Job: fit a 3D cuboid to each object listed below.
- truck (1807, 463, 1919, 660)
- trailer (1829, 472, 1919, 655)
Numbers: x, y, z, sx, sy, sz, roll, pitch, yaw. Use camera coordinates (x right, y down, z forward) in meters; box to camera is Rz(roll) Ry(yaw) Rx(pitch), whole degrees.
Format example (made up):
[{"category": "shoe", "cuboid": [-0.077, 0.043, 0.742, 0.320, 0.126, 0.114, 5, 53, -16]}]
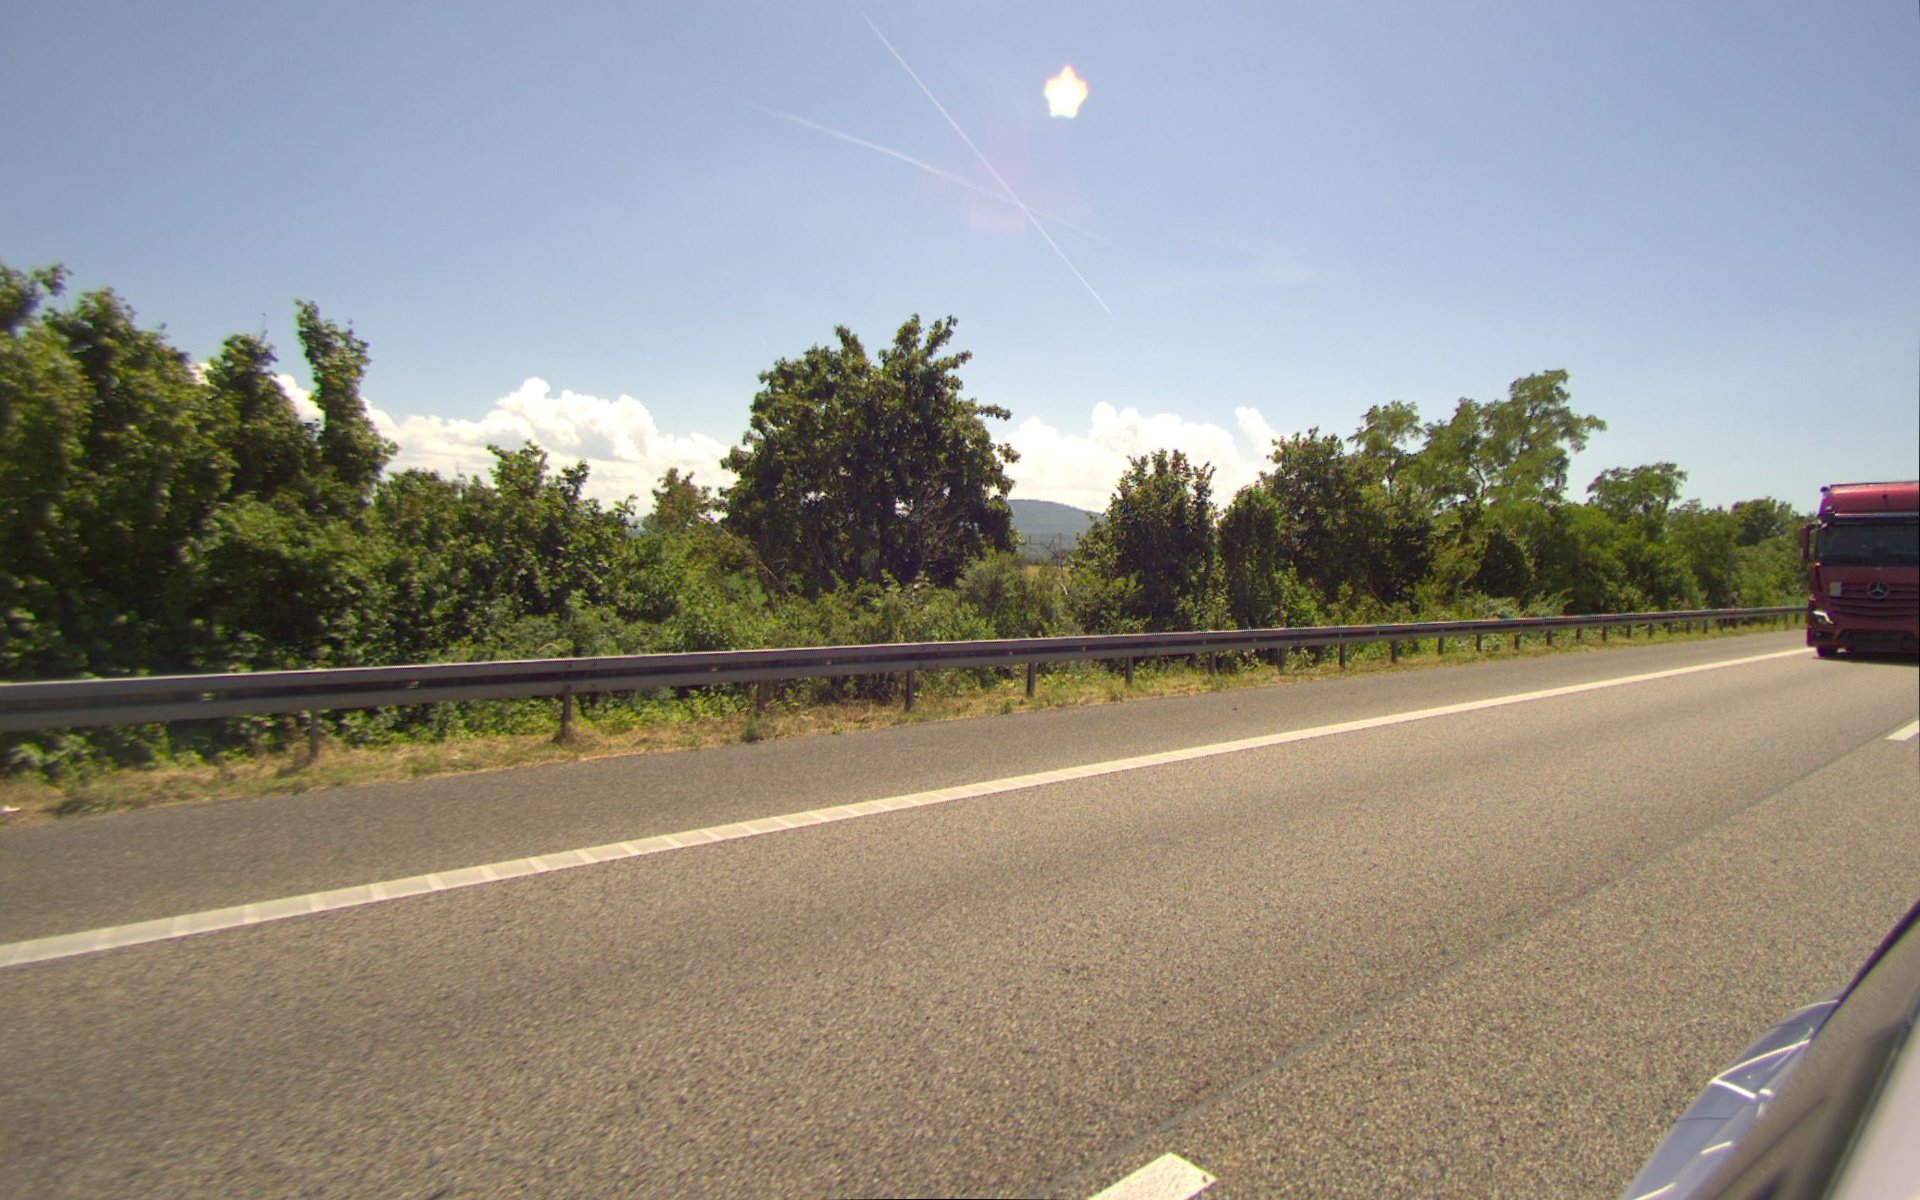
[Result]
[{"category": "truck", "cuboid": [22.542, -0.827, 23.757, 6.840, 4.138, 2.714, 0, 3, -40]}, {"category": "trailer", "cuboid": [27.027, -0.845, 27.500, 13.898, 4.138, 2.714, 0, 3, -40]}]
